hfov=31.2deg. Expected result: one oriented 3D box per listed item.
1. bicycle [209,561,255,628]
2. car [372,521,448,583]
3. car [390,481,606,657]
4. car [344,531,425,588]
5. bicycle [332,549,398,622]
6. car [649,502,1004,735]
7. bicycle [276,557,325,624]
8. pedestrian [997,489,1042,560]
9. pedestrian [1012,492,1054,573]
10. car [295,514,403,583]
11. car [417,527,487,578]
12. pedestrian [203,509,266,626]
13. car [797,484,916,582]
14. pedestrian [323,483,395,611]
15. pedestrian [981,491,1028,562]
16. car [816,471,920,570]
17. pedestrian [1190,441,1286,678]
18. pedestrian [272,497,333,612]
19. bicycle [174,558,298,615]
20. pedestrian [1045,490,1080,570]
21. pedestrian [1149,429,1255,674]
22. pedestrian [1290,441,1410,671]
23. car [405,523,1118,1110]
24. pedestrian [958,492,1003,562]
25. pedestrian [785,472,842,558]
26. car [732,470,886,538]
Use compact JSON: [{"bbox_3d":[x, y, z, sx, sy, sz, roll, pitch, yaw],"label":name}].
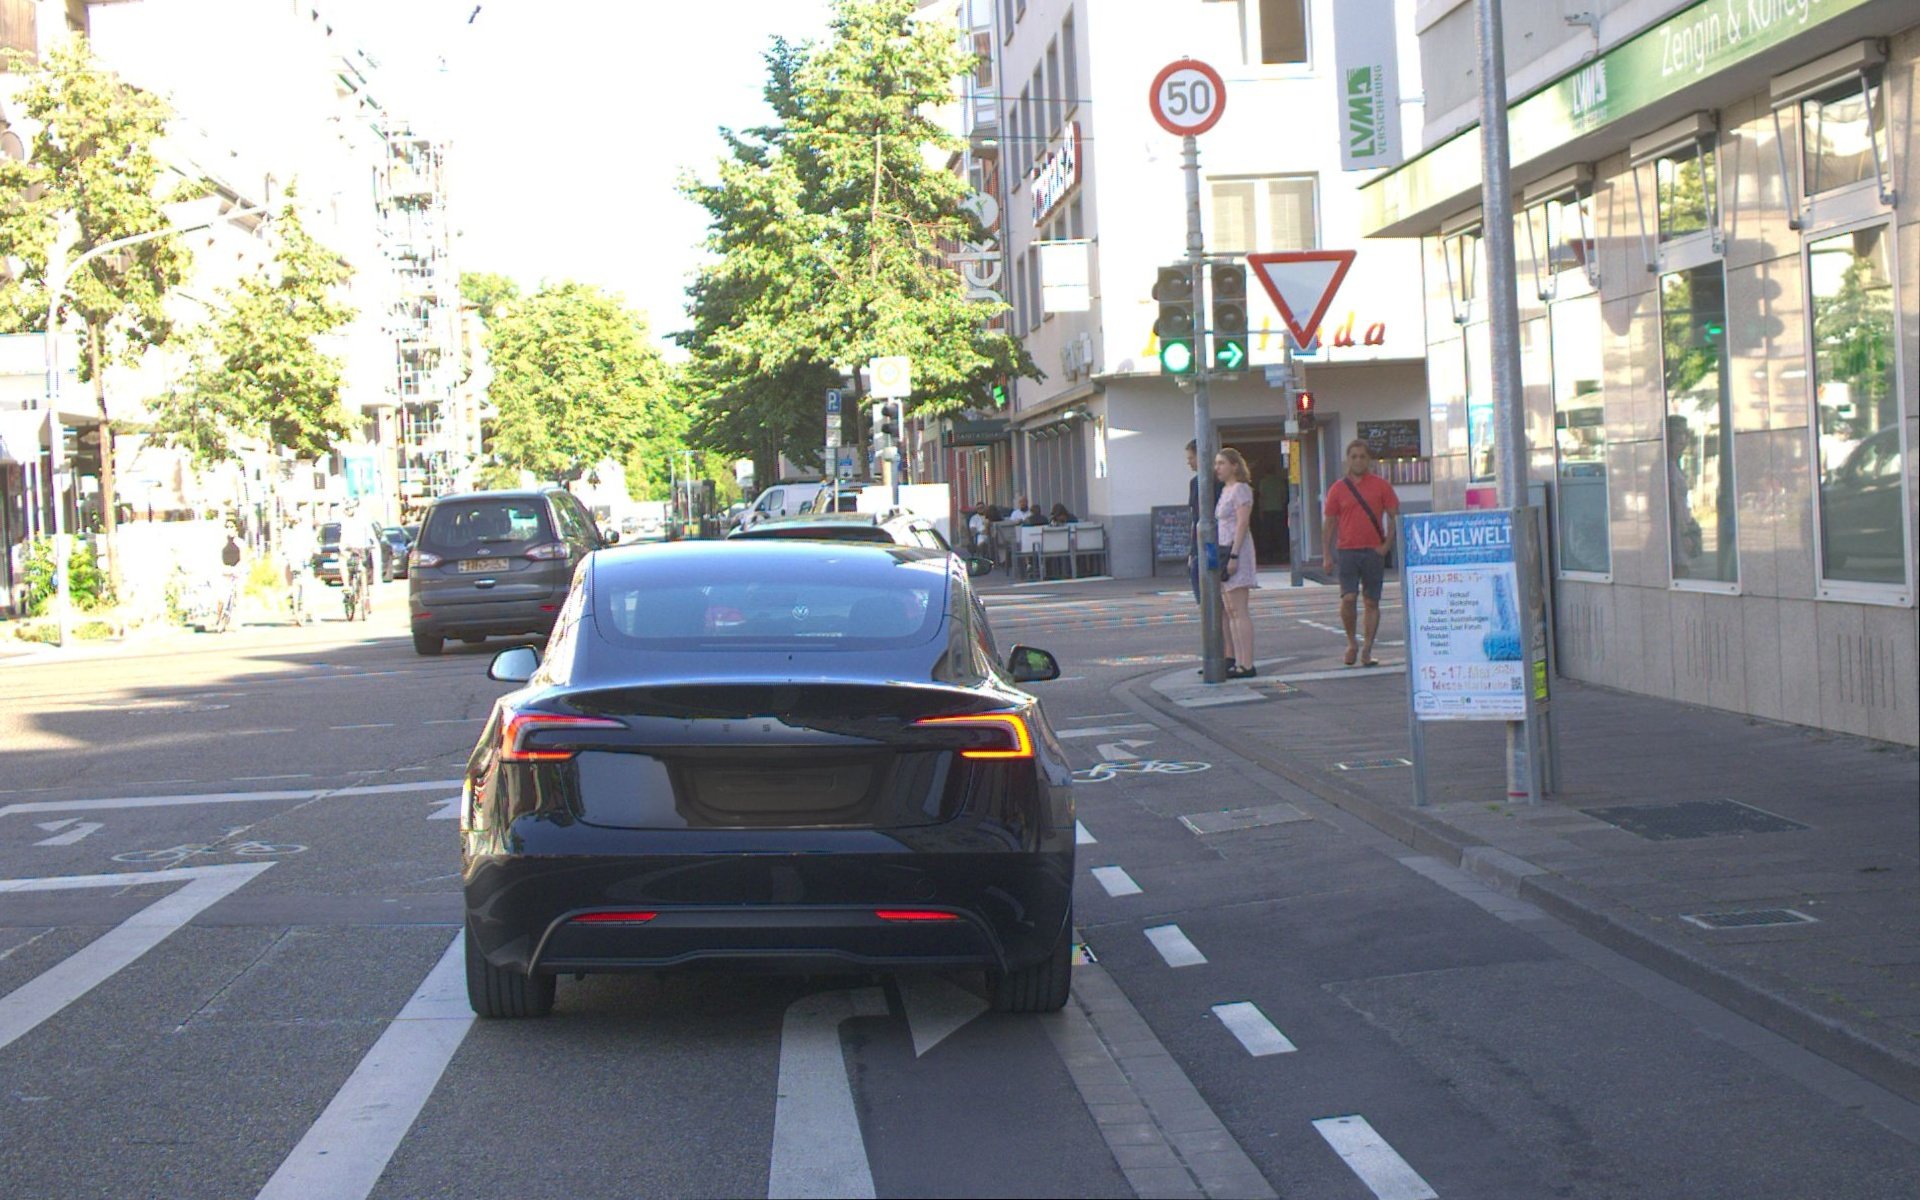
[{"bbox_3d":[-10.921,-0.087,51.552,0.480,0.952,1.456,-4,2,-17],"label":"bicycle"},{"bbox_3d":[-15.696,-1.395,98.219,1.718,1.604,3.598,-3,2,-4],"label":"car"},{"bbox_3d":[-4.963,-0.386,37.449,1.904,1.727,4.289,-3,2,-3],"label":"car"},{"bbox_3d":[-15.593,-1.121,93.232,1.786,1.397,3.907,-3,2,-5],"label":"car"},{"bbox_3d":[-9.077,-0.230,52.399,0.758,1.004,1.726,-6,2,-14],"label":"bicycle"},{"bbox_3d":[-0.832,0.063,24.232,1.762,1.413,4.354,-2,2,7],"label":"car"},{"bbox_3d":[-10.030,-0.157,52.243,0.552,0.965,1.795,-4,2,-14],"label":"bicycle"},{"bbox_3d":[1.176,-1.496,68.047,0.730,1.355,0.959,-3,2,-3],"label":"pedestrian"},{"bbox_3d":[1.223,-1.131,57.275,0.586,1.308,0.560,-3,2,-3],"label":"pedestrian"},{"bbox_3d":[-15.146,-1.298,85.415,1.993,1.592,4.001,-2,2,-1],"label":"car"},{"bbox_3d":[-15.211,-1.443,103.100,1.786,1.397,3.907,-3,2,-5],"label":"car"},{"bbox_3d":[-10.835,-0.493,51.341,0.790,1.706,0.654,-3,2,-18],"label":"pedestrian"},{"bbox_3d":[-1.926,-1.245,62.813,2.001,1.630,4.289,-3,2,-3],"label":"car"},{"bbox_3d":[-9.145,-0.812,52.301,0.778,1.860,1.002,-6,3,-17],"label":"pedestrian"},{"bbox_3d":[0.865,-1.431,66.763,0.730,1.342,1.060,-4,2,-5],"label":"pedestrian"},{"bbox_3d":[-1.875,-1.617,69.244,1.904,1.845,4.289,-3,2,-3],"label":"car"},{"bbox_3d":[2.097,-0.312,25.999,0.572,1.753,0.649,-2,2,-3],"label":"pedestrian"},{"bbox_3d":[-10.046,-0.696,52.515,0.778,1.722,0.559,-3,2,-17],"label":"pedestrian"},{"bbox_3d":[-13.833,-0.262,65.683,2.219,0.955,0.656,-4,2,-15],"label":"bicycle"},{"bbox_3d":[1.732,-1.184,58.078,0.488,1.317,0.653,-3,2,5],"label":"pedestrian"},{"bbox_3d":[1.864,-0.377,26.531,0.640,1.835,0.682,-3,2,-3],"label":"pedestrian"},{"bbox_3d":[3.005,-0.349,26.557,0.690,1.697,0.912,-4,2,-2],"label":"pedestrian"},{"bbox_3d":[-0.617,0.540,11.557,1.869,1.422,4.365,-3,2,-2],"label":"car"},{"bbox_3d":[0.404,-1.444,67.852,0.709,1.342,1.060,-4,2,-6],"label":"pedestrian"},{"bbox_3d":[-3.372,-1.966,79.221,0.958,1.909,1.104,-3,2,13],"label":"pedestrian"},{"bbox_3d":[-5.479,-3.483,124.419,5.391,2.138,2.000,-4,2,-4],"label":"car"}]
